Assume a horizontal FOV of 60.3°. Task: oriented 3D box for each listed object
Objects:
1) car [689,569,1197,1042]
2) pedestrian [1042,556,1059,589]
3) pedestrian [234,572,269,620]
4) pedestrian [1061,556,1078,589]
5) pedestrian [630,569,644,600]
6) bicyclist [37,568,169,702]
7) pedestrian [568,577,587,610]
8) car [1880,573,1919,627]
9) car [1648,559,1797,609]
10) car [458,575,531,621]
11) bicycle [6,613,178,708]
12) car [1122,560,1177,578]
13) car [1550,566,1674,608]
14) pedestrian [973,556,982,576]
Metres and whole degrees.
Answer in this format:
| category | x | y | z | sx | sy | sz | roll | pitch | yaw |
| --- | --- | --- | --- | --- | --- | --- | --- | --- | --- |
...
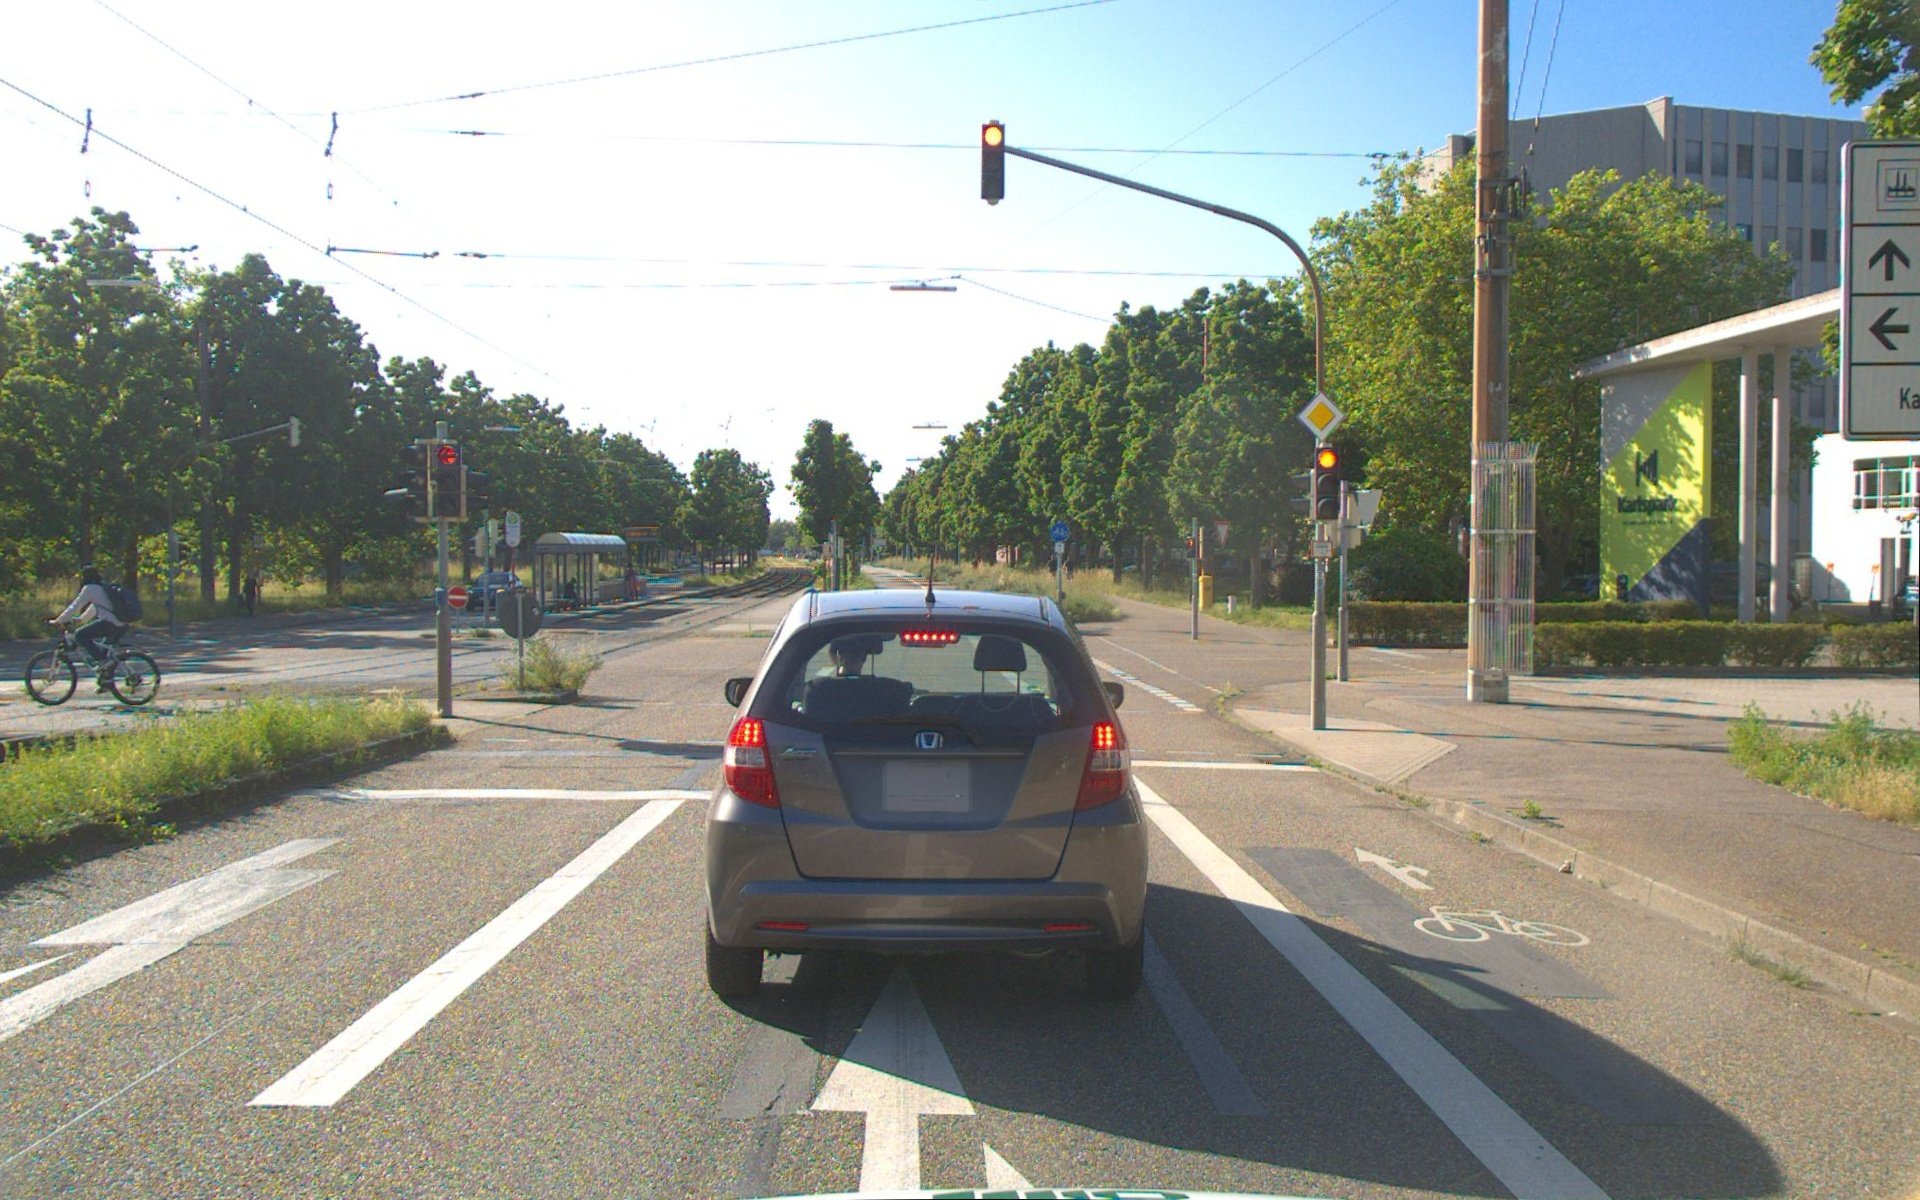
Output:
| category | x | y | z | sx | sy | sz | roll | pitch | yaw |
| --- | --- | --- | --- | --- | --- | --- | --- | --- | --- |
| car | -0.080 | 0.679 | 7.330 | 1.666 | 1.550 | 3.709 | 1 | 0 | -1 |
| pedestrian | 5.309 | -1.614 | 96.779 | 0.865 | 1.917 | 0.875 | 0 | 1 | -5 |
| pedestrian | -26.526 | -0.160 | 61.943 | 0.744 | 1.764 | 0.936 | 0 | 1 | 27 |
| pedestrian | 6.386 | -1.599 | 96.826 | 0.865 | 1.917 | 0.875 | 0 | 1 | -5 |
| pedestrian | -15.588 | -0.762 | 79.844 | 0.533 | 1.473 | 0.559 | -1 | 0 | -1 |
| bicyclist | -10.620 | 0.418 | 20.523 | 1.208 | 1.621 | 0.805 | 0 | 0 | -2 |
| pedestrian | -15.096 | -0.263 | 65.291 | 0.552 | 1.279 | 0.580 | -2 | 0 | -2 |
| car | 30.632 | -0.017 | 50.728 | 3.914 | 1.605 | 1.950 | 0 | 1 | -10 |
| car | 28.000 | -0.609 | 60.755 | 4.803 | 1.787 | 2.083 | 0 | 1 | -16 |
| car | -20.794 | -0.129 | 74.075 | 2.052 | 1.841 | 4.791 | -2 | 2 | -3 |
| bicycle | -10.727 | 0.740 | 20.478 | 1.739 | 1.121 | 0.698 | 0 | 0 | -2 |
| car | 16.582 | -2.728 | 144.810 | 4.543 | 1.582 | 1.997 | -1 | 1 | -7 |
| car | 26.634 | -0.542 | 67.597 | 4.371 | 1.715 | 1.892 | 0 | 1 | -7 |
| pedestrian | 1.504 | -2.897 | 142.441 | 0.710 | 1.720 | 0.820 | 0 | -1 | -3 |
